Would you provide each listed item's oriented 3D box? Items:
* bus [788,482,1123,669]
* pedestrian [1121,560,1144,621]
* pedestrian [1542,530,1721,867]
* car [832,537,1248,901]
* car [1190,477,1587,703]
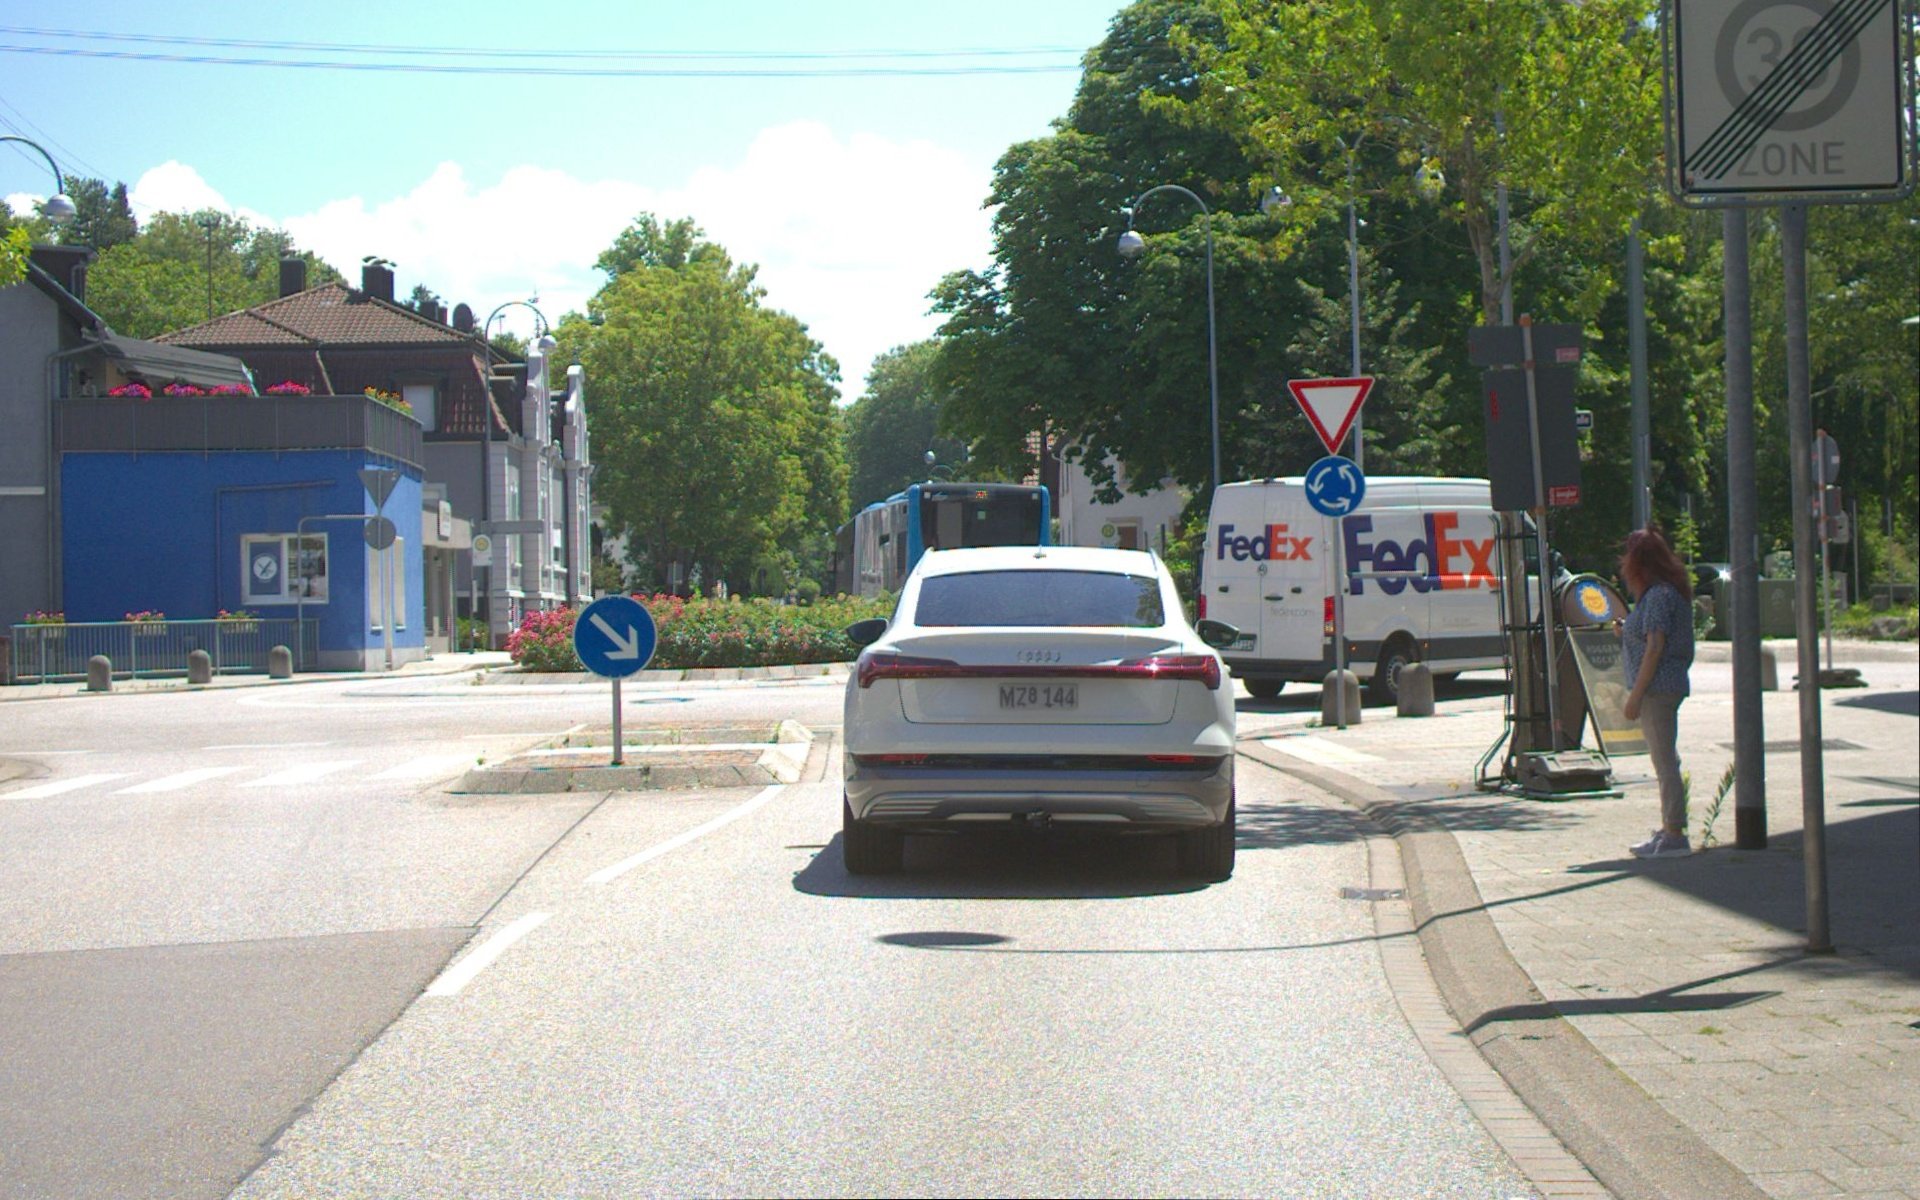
[{"bbox_3d":[-0.509,-0.400,67.943,3.705,3.160,18.073,1,0,-9],"label":"bus"},{"bbox_3d":[4.705,-0.253,93.794,0.502,1.644,0.579,-1,0,-6],"label":"pedestrian"},{"bbox_3d":[3.280,0.474,16.835,0.732,1.604,0.559,-2,0,1],"label":"pedestrian"},{"bbox_3d":[0.363,0.529,17.941,1.898,1.656,4.409,0,0,0],"label":"car"},{"bbox_3d":[5.122,-0.184,40.439,1.998,2.472,5.472,2,2,39],"label":"car"}]
